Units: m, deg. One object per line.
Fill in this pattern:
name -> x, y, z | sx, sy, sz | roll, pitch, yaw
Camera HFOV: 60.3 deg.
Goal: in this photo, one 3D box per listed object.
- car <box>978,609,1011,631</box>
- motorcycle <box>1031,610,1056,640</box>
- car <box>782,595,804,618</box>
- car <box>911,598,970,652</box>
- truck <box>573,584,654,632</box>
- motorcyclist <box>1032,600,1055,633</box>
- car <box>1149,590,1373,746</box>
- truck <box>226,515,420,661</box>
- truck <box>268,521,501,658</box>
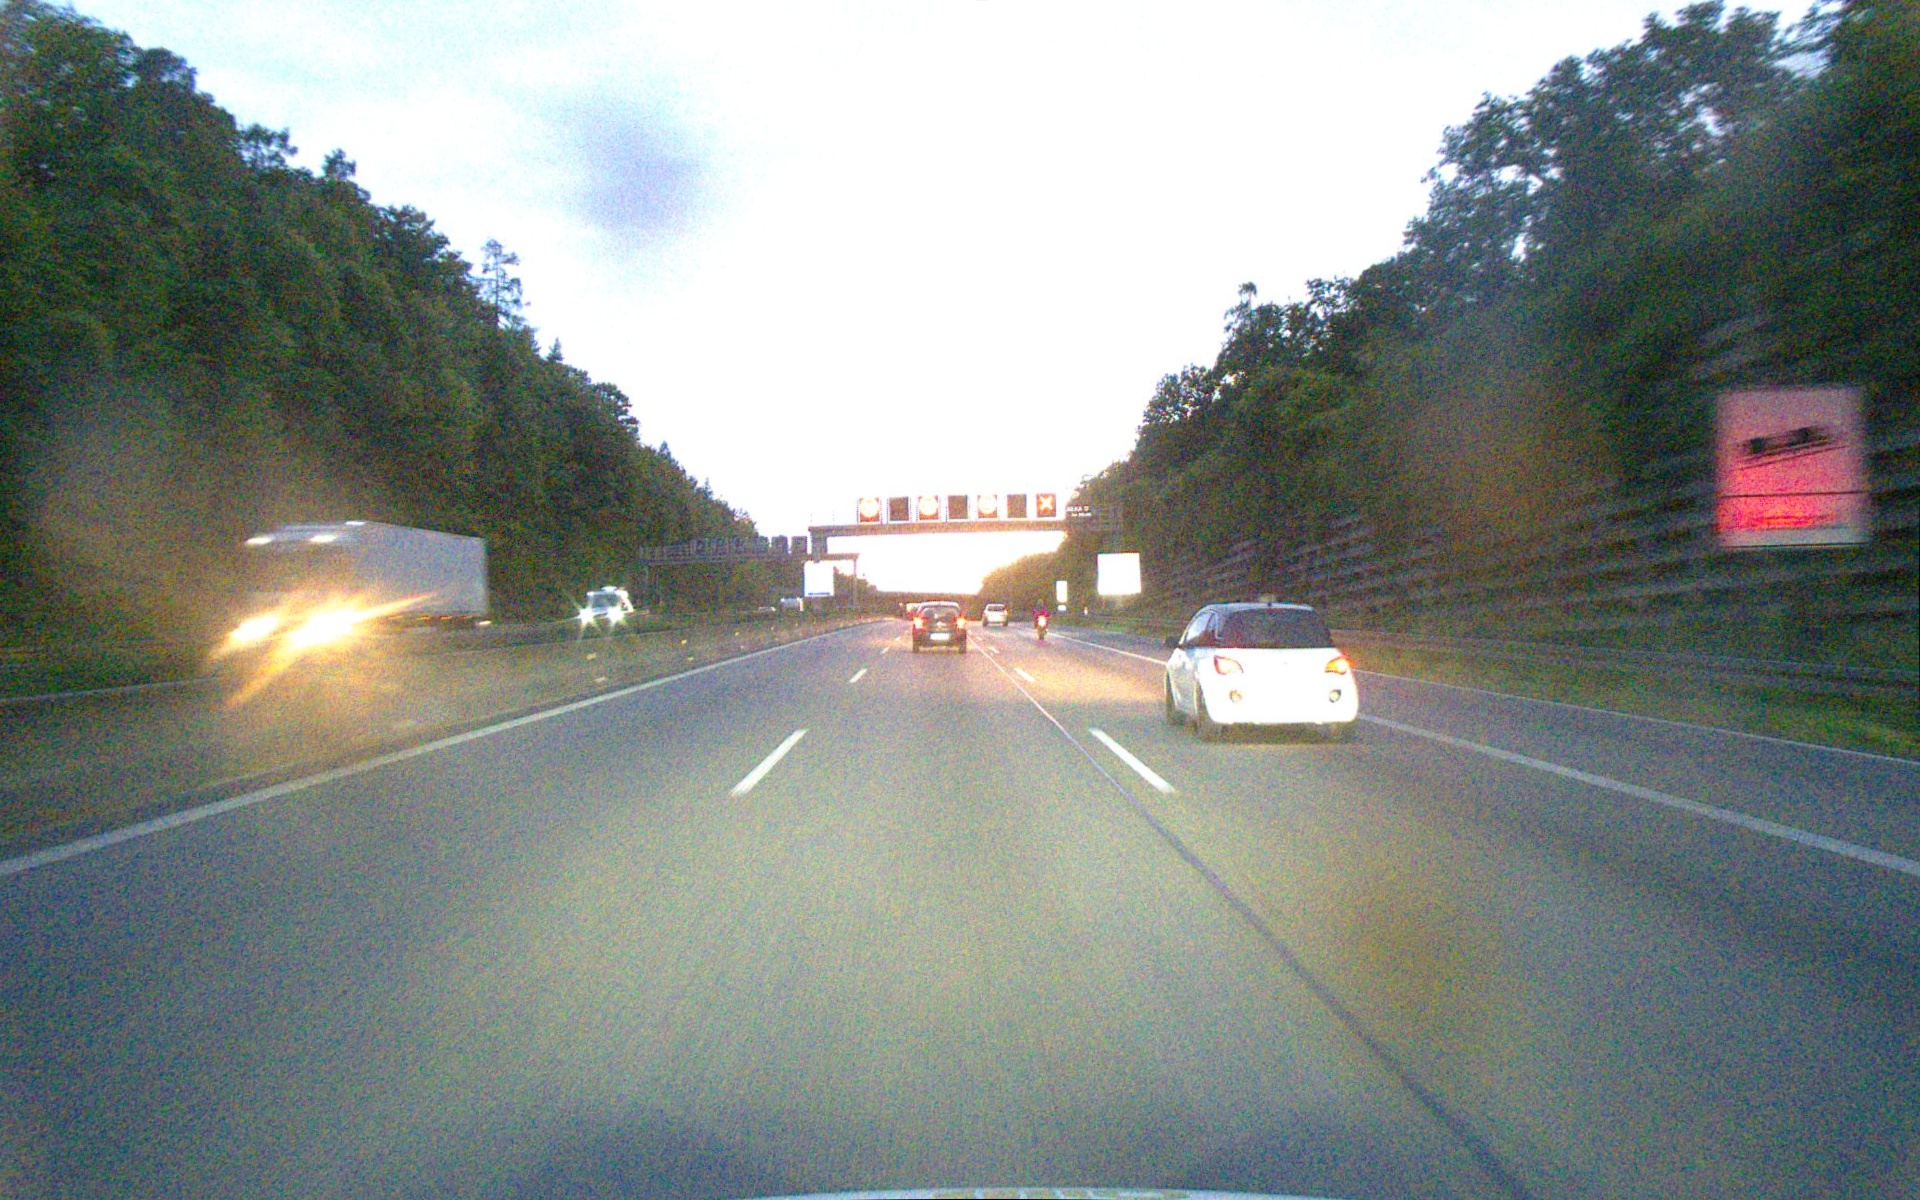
car -> 2.406, 1.430, 116.786 | 1.829, 1.520, 4.393 | 1, -1, -5
motorcycle -> 3.377, 0.997, 66.972 | 0.813, 1.154, 2.475 | -1, 0, -1
car -> -21.649, 0.894, 214.524 | 1.941, 2.931, 7.834 | -1, -1, 0
car -> -0.556, 0.746, 49.547 | 1.669, 1.536, 4.231 | 1, -1, 0
truck -> -19.411, 0.437, 93.304 | 2.410, 2.553, 9.755 | 0, 0, 1
motorcyclist -> 3.375, 0.649, 66.907 | 0.813, 1.314, 1.190 | -1, -1, -1
car -> 3.351, 0.682, 19.217 | 1.788, 1.501, 4.399 | 1, 1, 0
truck -> -19.124, -0.351, 50.205 | 3.312, 4.073, 6.877 | -1, 0, -2
truck -> -19.316, -0.336, 56.986 | 3.289, 4.073, 14.492 | -1, 0, -2
